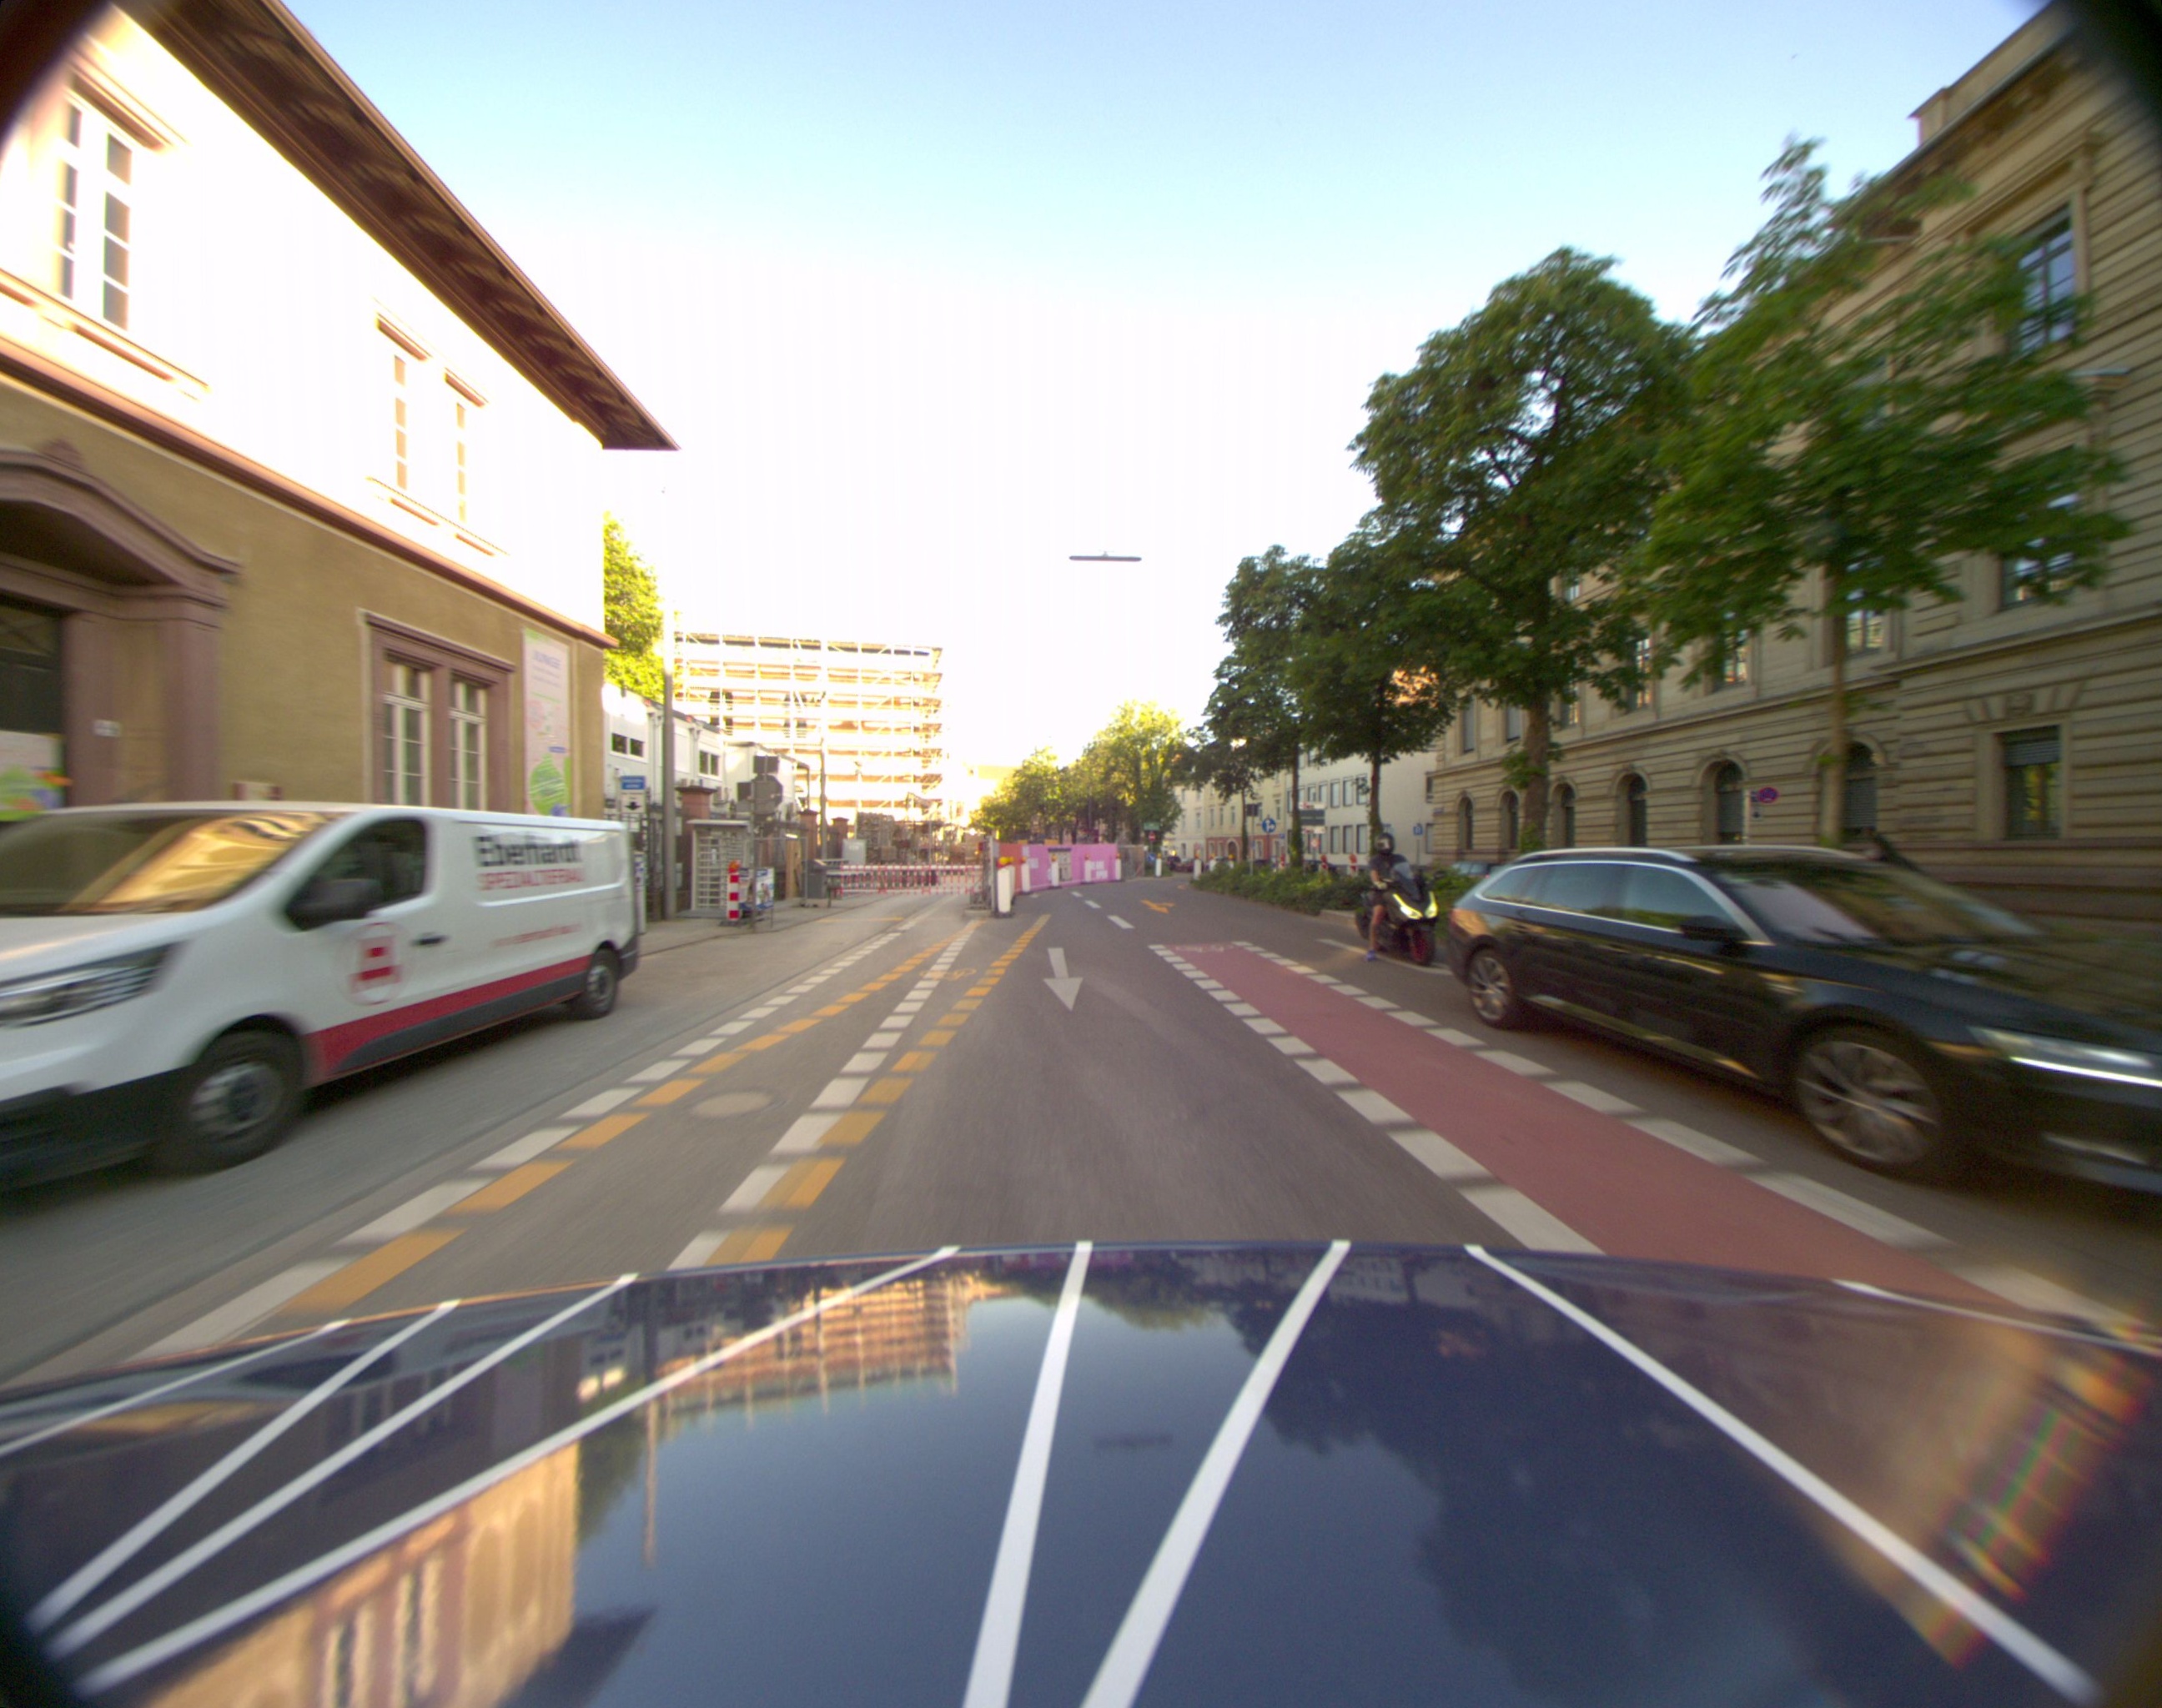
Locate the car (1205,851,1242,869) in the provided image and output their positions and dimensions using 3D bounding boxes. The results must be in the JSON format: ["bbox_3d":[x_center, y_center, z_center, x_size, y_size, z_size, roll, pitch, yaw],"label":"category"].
[{"bbox_3d":[12.760,0.554,68.328,1.808,1.562,4.150,0,0,-12],"label":"car"}]

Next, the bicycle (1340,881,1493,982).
[{"bbox_3d":[4.339,0.948,10.088,0.872,1.036,2.453,-2,1,-2],"label":"bicycle"}]

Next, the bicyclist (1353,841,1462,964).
[{"bbox_3d":[4.330,0.609,10.187,0.870,1.514,1.231,-2,1,-2],"label":"bicyclist"}]

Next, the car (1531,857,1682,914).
[{"bbox_3d":[15.269,0.864,22.353,1.672,1.499,3.845,0,0,-2],"label":"car"}]

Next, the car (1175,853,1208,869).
[{"bbox_3d":[11.117,0.668,76.681,1.773,1.479,4.188,-1,1,-15],"label":"car"}]

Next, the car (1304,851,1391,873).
[{"bbox_3d":[16.452,0.492,47.007,4.771,1.315,1.767,0,0,2],"label":"car"}]

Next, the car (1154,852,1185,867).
[{"bbox_3d":[9.544,0.522,82.033,1.820,1.562,4.384,0,0,-15],"label":"car"}]

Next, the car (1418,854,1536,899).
[{"bbox_3d":[14.867,0.801,28.861,1.884,1.499,4.643,2,0,-2],"label":"car"}]

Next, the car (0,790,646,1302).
[{"bbox_3d":[-5.385,0.717,5.275,2.020,1.934,5.477,-1,1,-6],"label":"car"}]

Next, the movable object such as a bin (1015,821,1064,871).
[{"bbox_3d":[-2.895,-0.558,52.342,3.171,3.281,4.383,0,0,-5],"label":"movable object such as a bin"}]

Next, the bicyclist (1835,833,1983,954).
[{"bbox_3d":[13.421,0.604,12.371,0.883,1.824,1.285,3,1,-1],"label":"bicyclist"}]

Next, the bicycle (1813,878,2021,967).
[{"bbox_3d":[13.395,1.043,12.308,0.883,1.187,2.174,3,1,-1],"label":"bicycle"}]

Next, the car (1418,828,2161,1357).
[{"bbox_3d":[4.219,0.727,4.603,1.999,1.648,4.734,0,0,-4],"label":"car"}]
